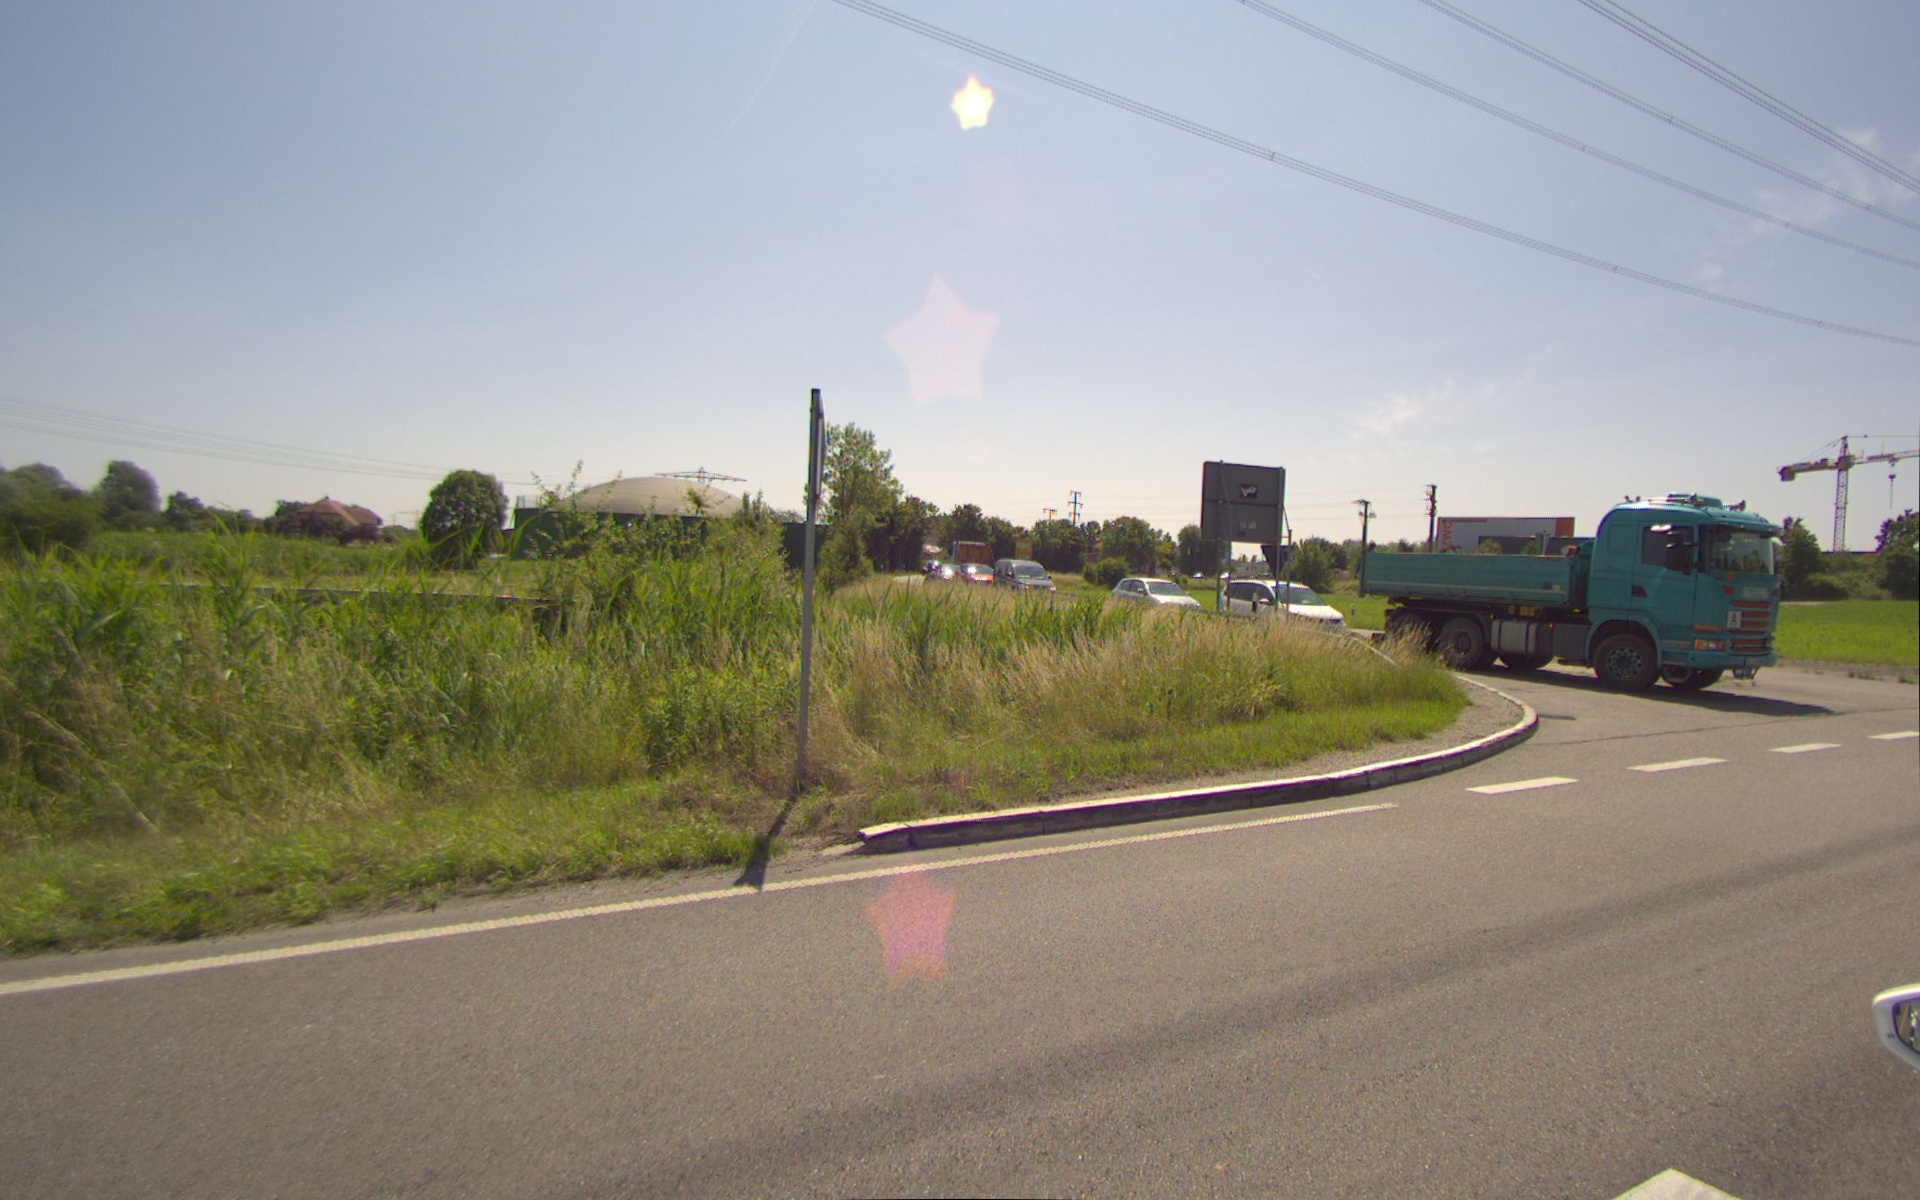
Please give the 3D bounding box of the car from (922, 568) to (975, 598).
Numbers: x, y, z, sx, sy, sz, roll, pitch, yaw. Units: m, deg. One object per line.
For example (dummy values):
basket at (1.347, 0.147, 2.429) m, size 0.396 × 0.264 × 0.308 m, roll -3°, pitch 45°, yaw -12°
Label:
car at (-0.664, -0.984, 55.548) m, size 1.754 × 1.498 × 3.982 m, roll 2°, pitch 2°, yaw -19°

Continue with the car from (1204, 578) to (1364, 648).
car at (8.682, 0.280, 27.378) m, size 1.935 × 1.634 × 4.540 m, roll 2°, pitch 2°, yaw -15°

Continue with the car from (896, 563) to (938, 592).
car at (-2.691, -1.357, 61.989) m, size 1.965 × 1.691 × 3.990 m, roll 2°, pitch 1°, yaw -12°

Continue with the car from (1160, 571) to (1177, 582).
car at (36.747, -4.149, 176.953) m, size 1.963 × 1.702 × 3.995 m, roll 2°, pitch 1°, yaw 27°

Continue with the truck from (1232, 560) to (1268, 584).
truck at (62.538, -5.977, 216.563) m, size 3.627 × 4.708 × 13.203 m, roll 3°, pitch 1°, yaw 33°

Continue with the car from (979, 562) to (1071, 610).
car at (2.717, -0.641, 43.332) m, size 2.057 × 1.893 × 4.927 m, roll 0°, pitch 2°, yaw -21°

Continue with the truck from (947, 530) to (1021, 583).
truck at (1.504, -2.862, 69.235) m, size 2.781 × 3.332 × 9.675 m, roll 1°, pitch 1°, yaw -13°

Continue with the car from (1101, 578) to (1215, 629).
car at (6.425, 0.066, 33.151) m, size 1.692 × 1.490 × 4.427 m, roll 2°, pitch 1°, yaw -19°

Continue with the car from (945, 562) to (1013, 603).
car at (0.876, -0.919, 49.809) m, size 1.886 × 1.874 × 4.463 m, roll 2°, pitch 2°, yaw -19°

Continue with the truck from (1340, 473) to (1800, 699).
truck at (12.010, -0.411, 20.903) m, size 2.466 × 3.785 × 7.873 m, roll 1°, pitch 3°, yaw -27°
